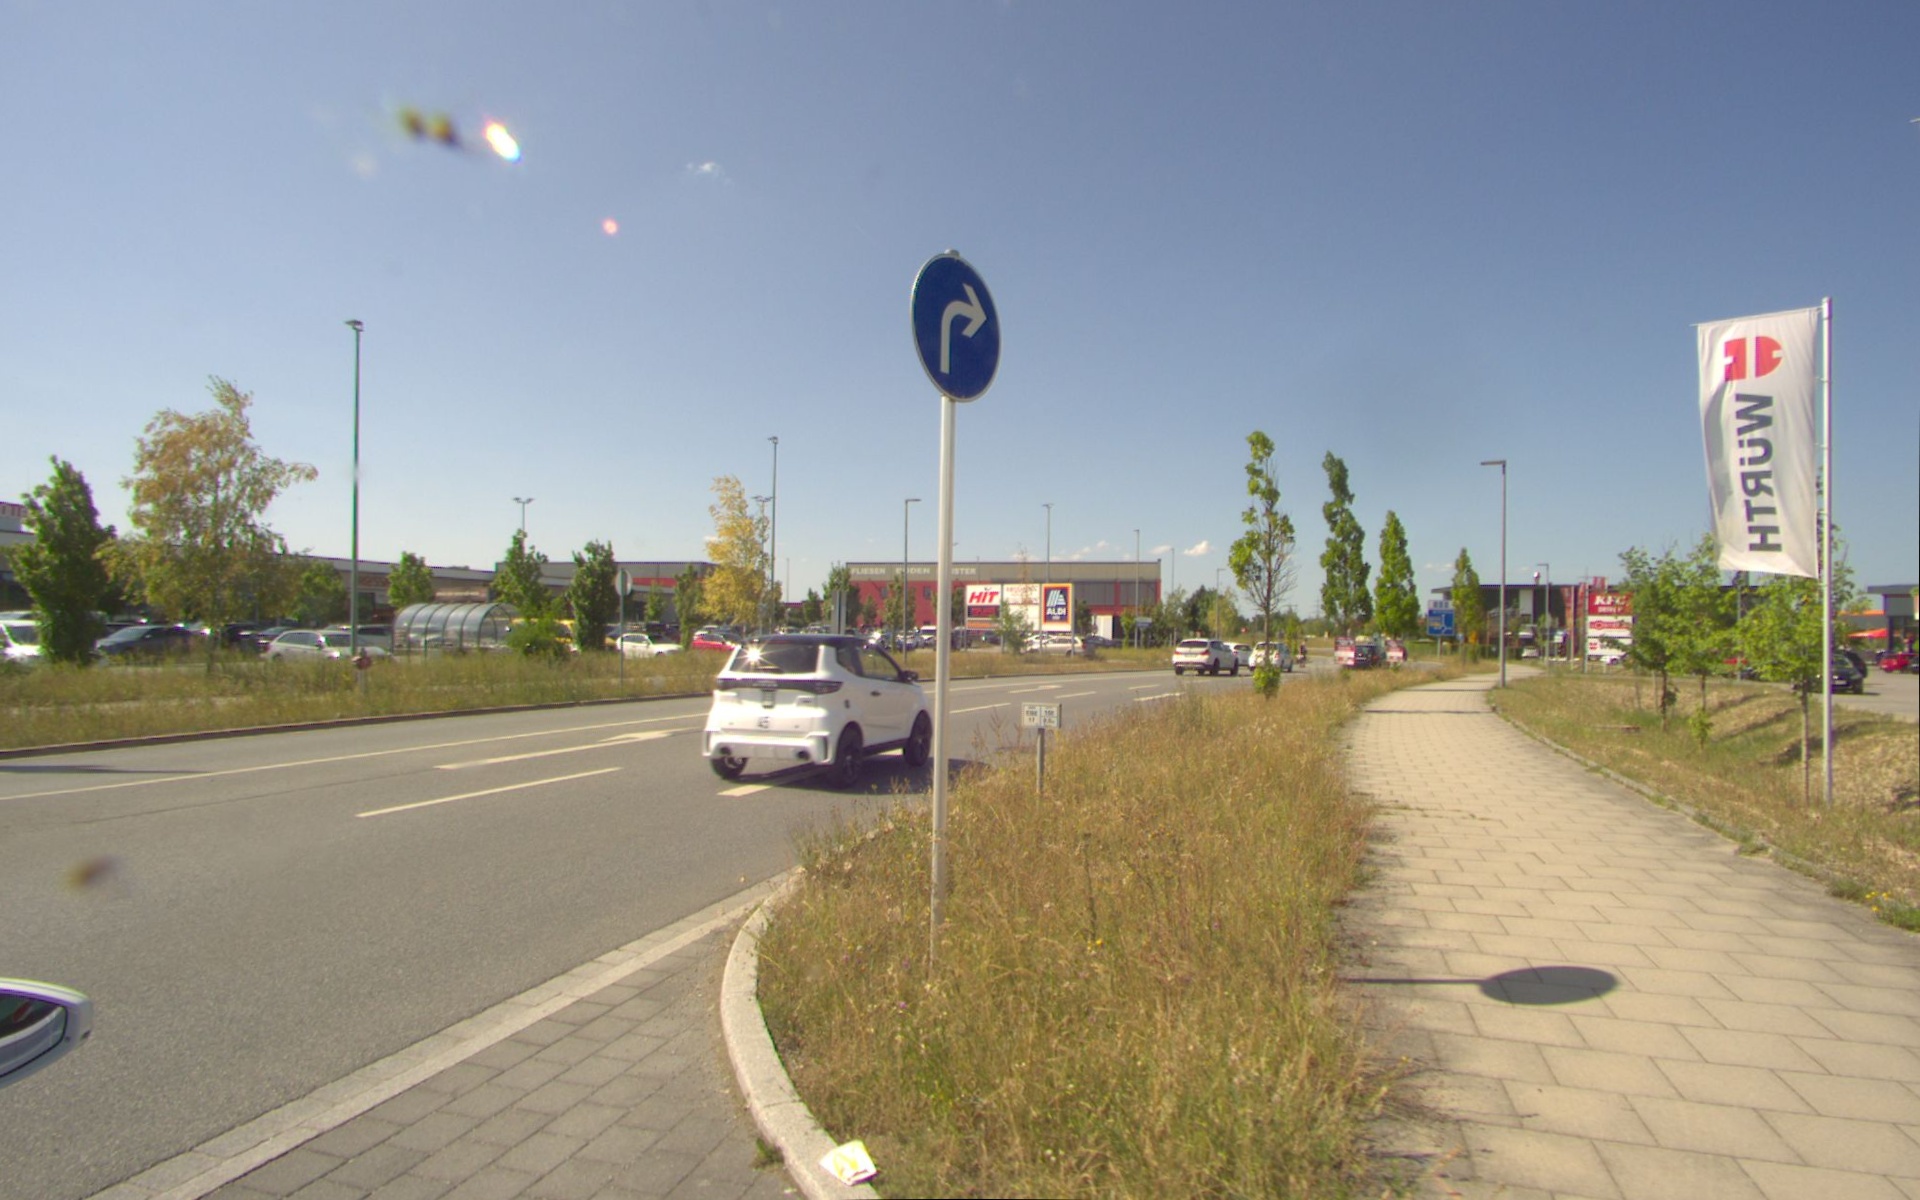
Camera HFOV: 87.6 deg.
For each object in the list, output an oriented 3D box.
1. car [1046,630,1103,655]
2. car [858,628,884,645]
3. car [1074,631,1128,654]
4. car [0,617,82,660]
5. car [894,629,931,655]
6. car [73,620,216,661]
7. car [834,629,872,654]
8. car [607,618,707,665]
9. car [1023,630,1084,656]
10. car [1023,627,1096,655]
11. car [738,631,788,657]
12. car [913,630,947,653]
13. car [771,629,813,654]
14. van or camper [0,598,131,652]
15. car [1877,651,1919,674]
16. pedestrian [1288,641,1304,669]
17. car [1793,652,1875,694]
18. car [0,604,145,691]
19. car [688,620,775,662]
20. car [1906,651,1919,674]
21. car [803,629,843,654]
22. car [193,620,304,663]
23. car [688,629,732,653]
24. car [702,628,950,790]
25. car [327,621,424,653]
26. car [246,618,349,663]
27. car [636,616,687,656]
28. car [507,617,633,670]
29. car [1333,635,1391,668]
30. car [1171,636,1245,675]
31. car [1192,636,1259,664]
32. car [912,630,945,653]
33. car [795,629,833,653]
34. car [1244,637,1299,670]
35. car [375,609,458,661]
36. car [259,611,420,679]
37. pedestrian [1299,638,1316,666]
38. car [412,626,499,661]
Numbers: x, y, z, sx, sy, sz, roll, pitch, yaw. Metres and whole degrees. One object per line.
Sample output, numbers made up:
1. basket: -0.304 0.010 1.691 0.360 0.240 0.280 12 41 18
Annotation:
1. car: 9.672 3.573 84.377 4.411 2.063 1.995 -1 -2 24
2. car: -10.895 4.510 122.912 1.962 2.063 4.483 0 -2 12
3. car: 12.533 3.763 89.165 4.411 2.063 1.995 -1 -2 24
4. car: -32.002 1.278 33.489 1.699 1.408 3.732 0 -1 9
5. car: -3.959 3.502 83.994 1.962 2.063 4.483 0 -2 12
6. car: -31.494 1.556 38.826 1.840 1.527 3.998 0 -2 14
7. car: -9.121 3.545 85.732 1.962 2.063 4.483 0 -2 12
8. car: -13.952 1.876 46.121 4.343 2.039 1.936 0 -2 29
9. car: 7.448 3.398 79.904 4.411 2.063 1.995 -1 -2 24
10. car: 6.515 2.675 65.650 4.407 1.737 1.996 -1 -2 21
11. car: -14.161 3.146 72.114 1.962 1.807 4.314 0 -2 12
12. car: -2.663 3.727 89.927 1.962 2.063 4.483 0 -2 12
13. car: -14.434 3.544 86.308 1.962 2.063 4.483 0 -2 12
14. van or camper: -36.646 0.989 40.166 1.963 2.039 5.048 0 -1 14
15. car: 69.100 4.533 72.178 4.019 1.585 1.878 1 -2 12
16. pedestrian: 20.531 3.340 61.211 0.701 1.686 0.663 1 -1 -31
17. car: 33.757 2.785 38.781 1.852 1.484 4.341 0 -2 34
18. car: -23.412 1.140 25.571 5.034 2.039 2.157 0 -1 27
19. car: -11.497 2.048 50.343 4.078 2.039 1.875 0 -2 31
20. car: 68.702 4.387 69.477 4.019 1.585 1.878 1 -2 12
21. car: -11.717 3.540 85.911 1.962 2.063 4.483 0 -2 12
22. car: -37.069 2.154 52.308 1.964 2.129 4.480 0 -2 16
23. car: -21.791 3.558 87.522 1.962 2.063 4.483 0 -2 12
24. car: -1.336 1.081 11.023 1.454 1.509 2.995 0 -2 21
25. car: -29.338 1.848 50.390 1.625 1.539 4.348 0 -2 14
26. car: -34.085 2.098 51.671 1.961 2.219 4.486 0 -2 7
27. car: -21.815 2.635 73.358 1.961 2.857 4.486 0 -2 7
28. car: -16.220 1.765 41.603 5.038 2.039 2.156 0 -1 29
29. car: 20.584 2.603 51.238 1.973 1.570 3.822 0 -2 34
30. car: 10.654 2.352 42.850 1.717 1.571 4.547 -1 -2 33
31. car: 15.394 2.898 58.254 1.715 1.571 3.768 1 -2 -27
32. car: -2.791 3.727 89.941 1.962 2.063 4.483 0 -2 12
33. car: -13.318 3.752 91.783 1.962 2.063 4.483 0 -2 12
34. car: 15.664 2.652 50.258 1.717 1.571 3.763 -1 -2 33
35. car: -30.931 1.995 57.153 1.961 2.857 4.486 0 -2 7
36. car: -20.323 1.419 32.756 5.034 2.039 2.157 0 -1 27
37. pedestrian: 21.294 3.185 61.327 0.701 1.686 0.663 1 -1 -31
38. car: -28.282 2.412 56.317 1.962 1.887 4.483 0 -2 12
